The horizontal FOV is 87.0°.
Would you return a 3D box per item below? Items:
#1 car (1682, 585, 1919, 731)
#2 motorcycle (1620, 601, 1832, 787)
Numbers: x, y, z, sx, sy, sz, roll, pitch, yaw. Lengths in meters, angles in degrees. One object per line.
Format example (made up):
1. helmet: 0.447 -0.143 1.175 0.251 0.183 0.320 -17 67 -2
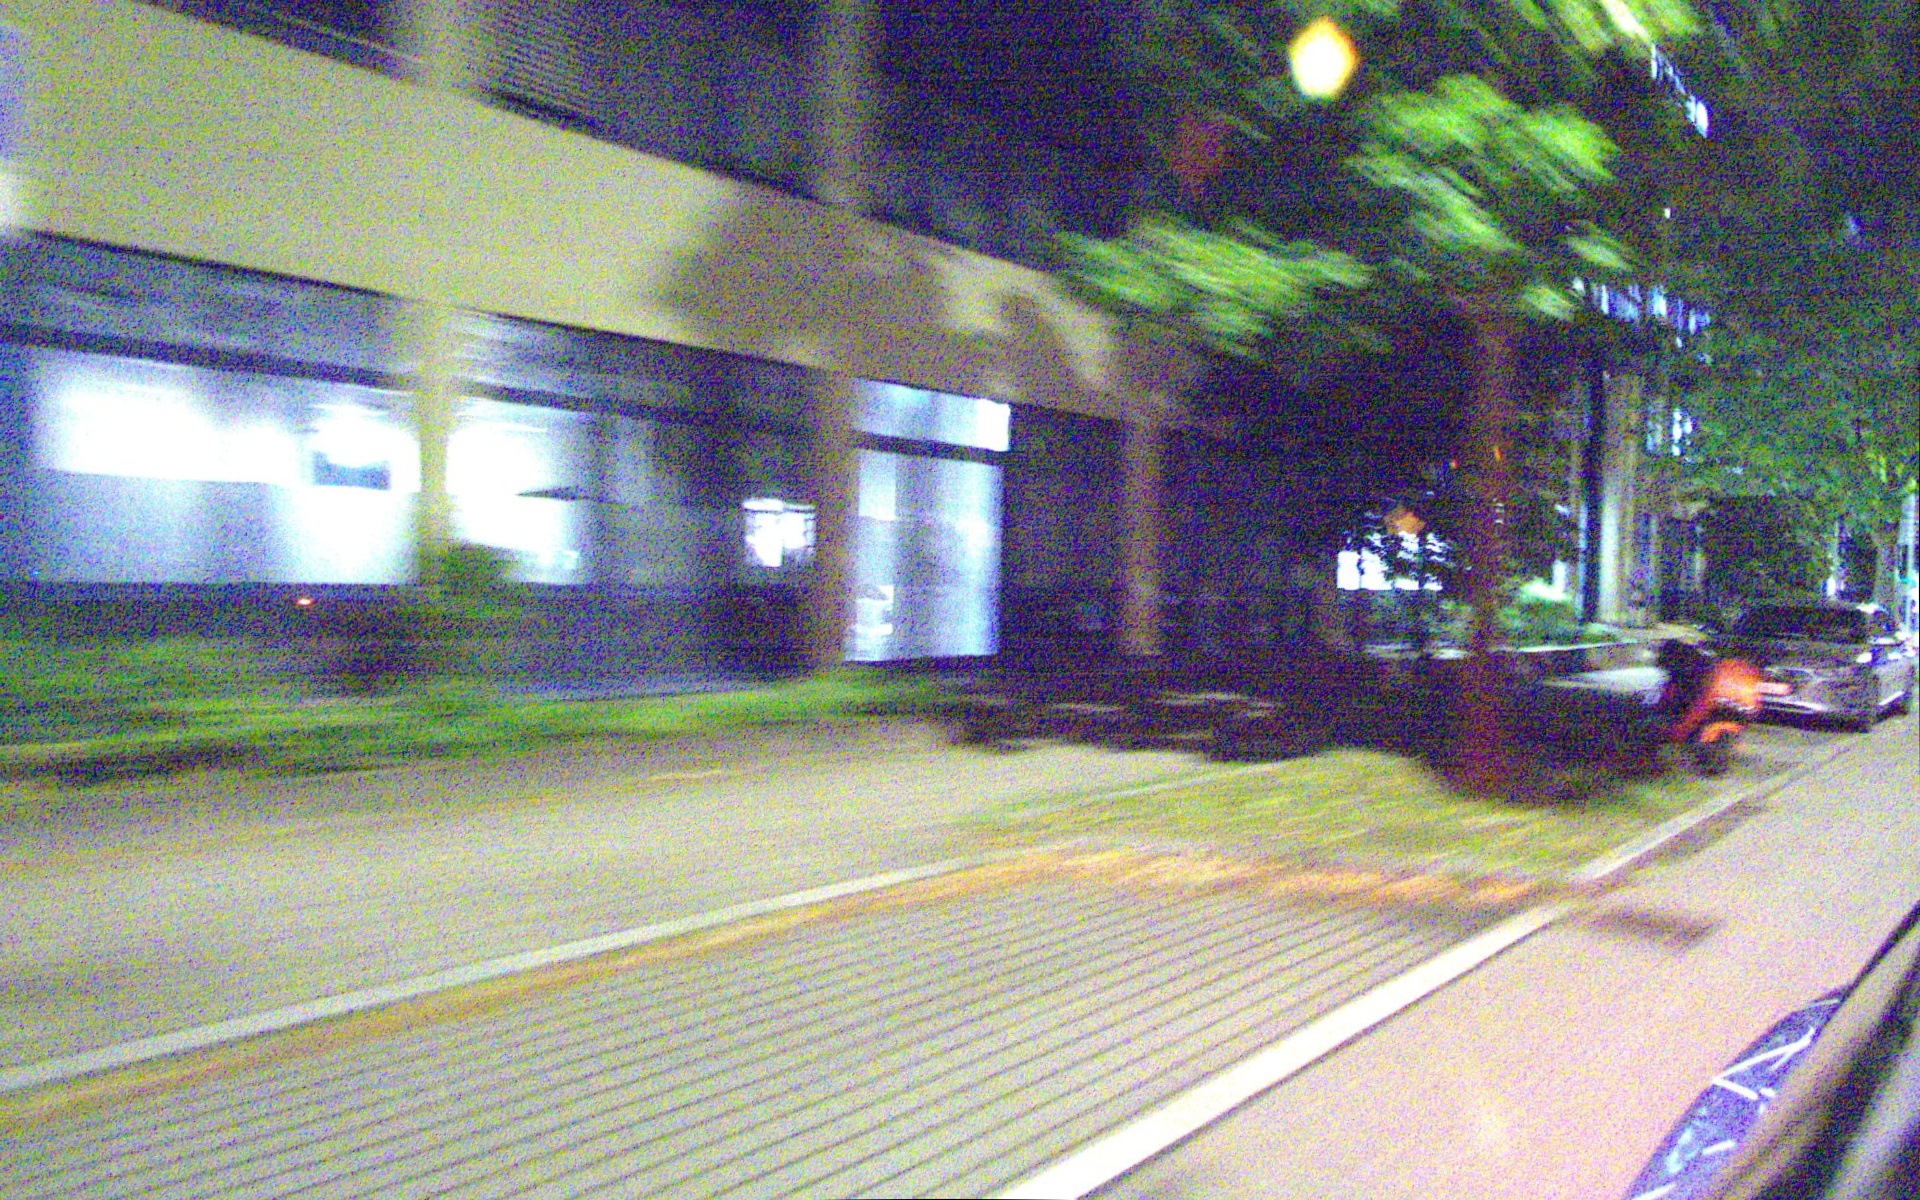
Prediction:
1. car: 10.714 0.607 12.623 4.072 1.446 1.673 0 4 -39
2. motorcycle: 6.521 0.704 8.784 0.919 1.299 2.216 3 2 24
